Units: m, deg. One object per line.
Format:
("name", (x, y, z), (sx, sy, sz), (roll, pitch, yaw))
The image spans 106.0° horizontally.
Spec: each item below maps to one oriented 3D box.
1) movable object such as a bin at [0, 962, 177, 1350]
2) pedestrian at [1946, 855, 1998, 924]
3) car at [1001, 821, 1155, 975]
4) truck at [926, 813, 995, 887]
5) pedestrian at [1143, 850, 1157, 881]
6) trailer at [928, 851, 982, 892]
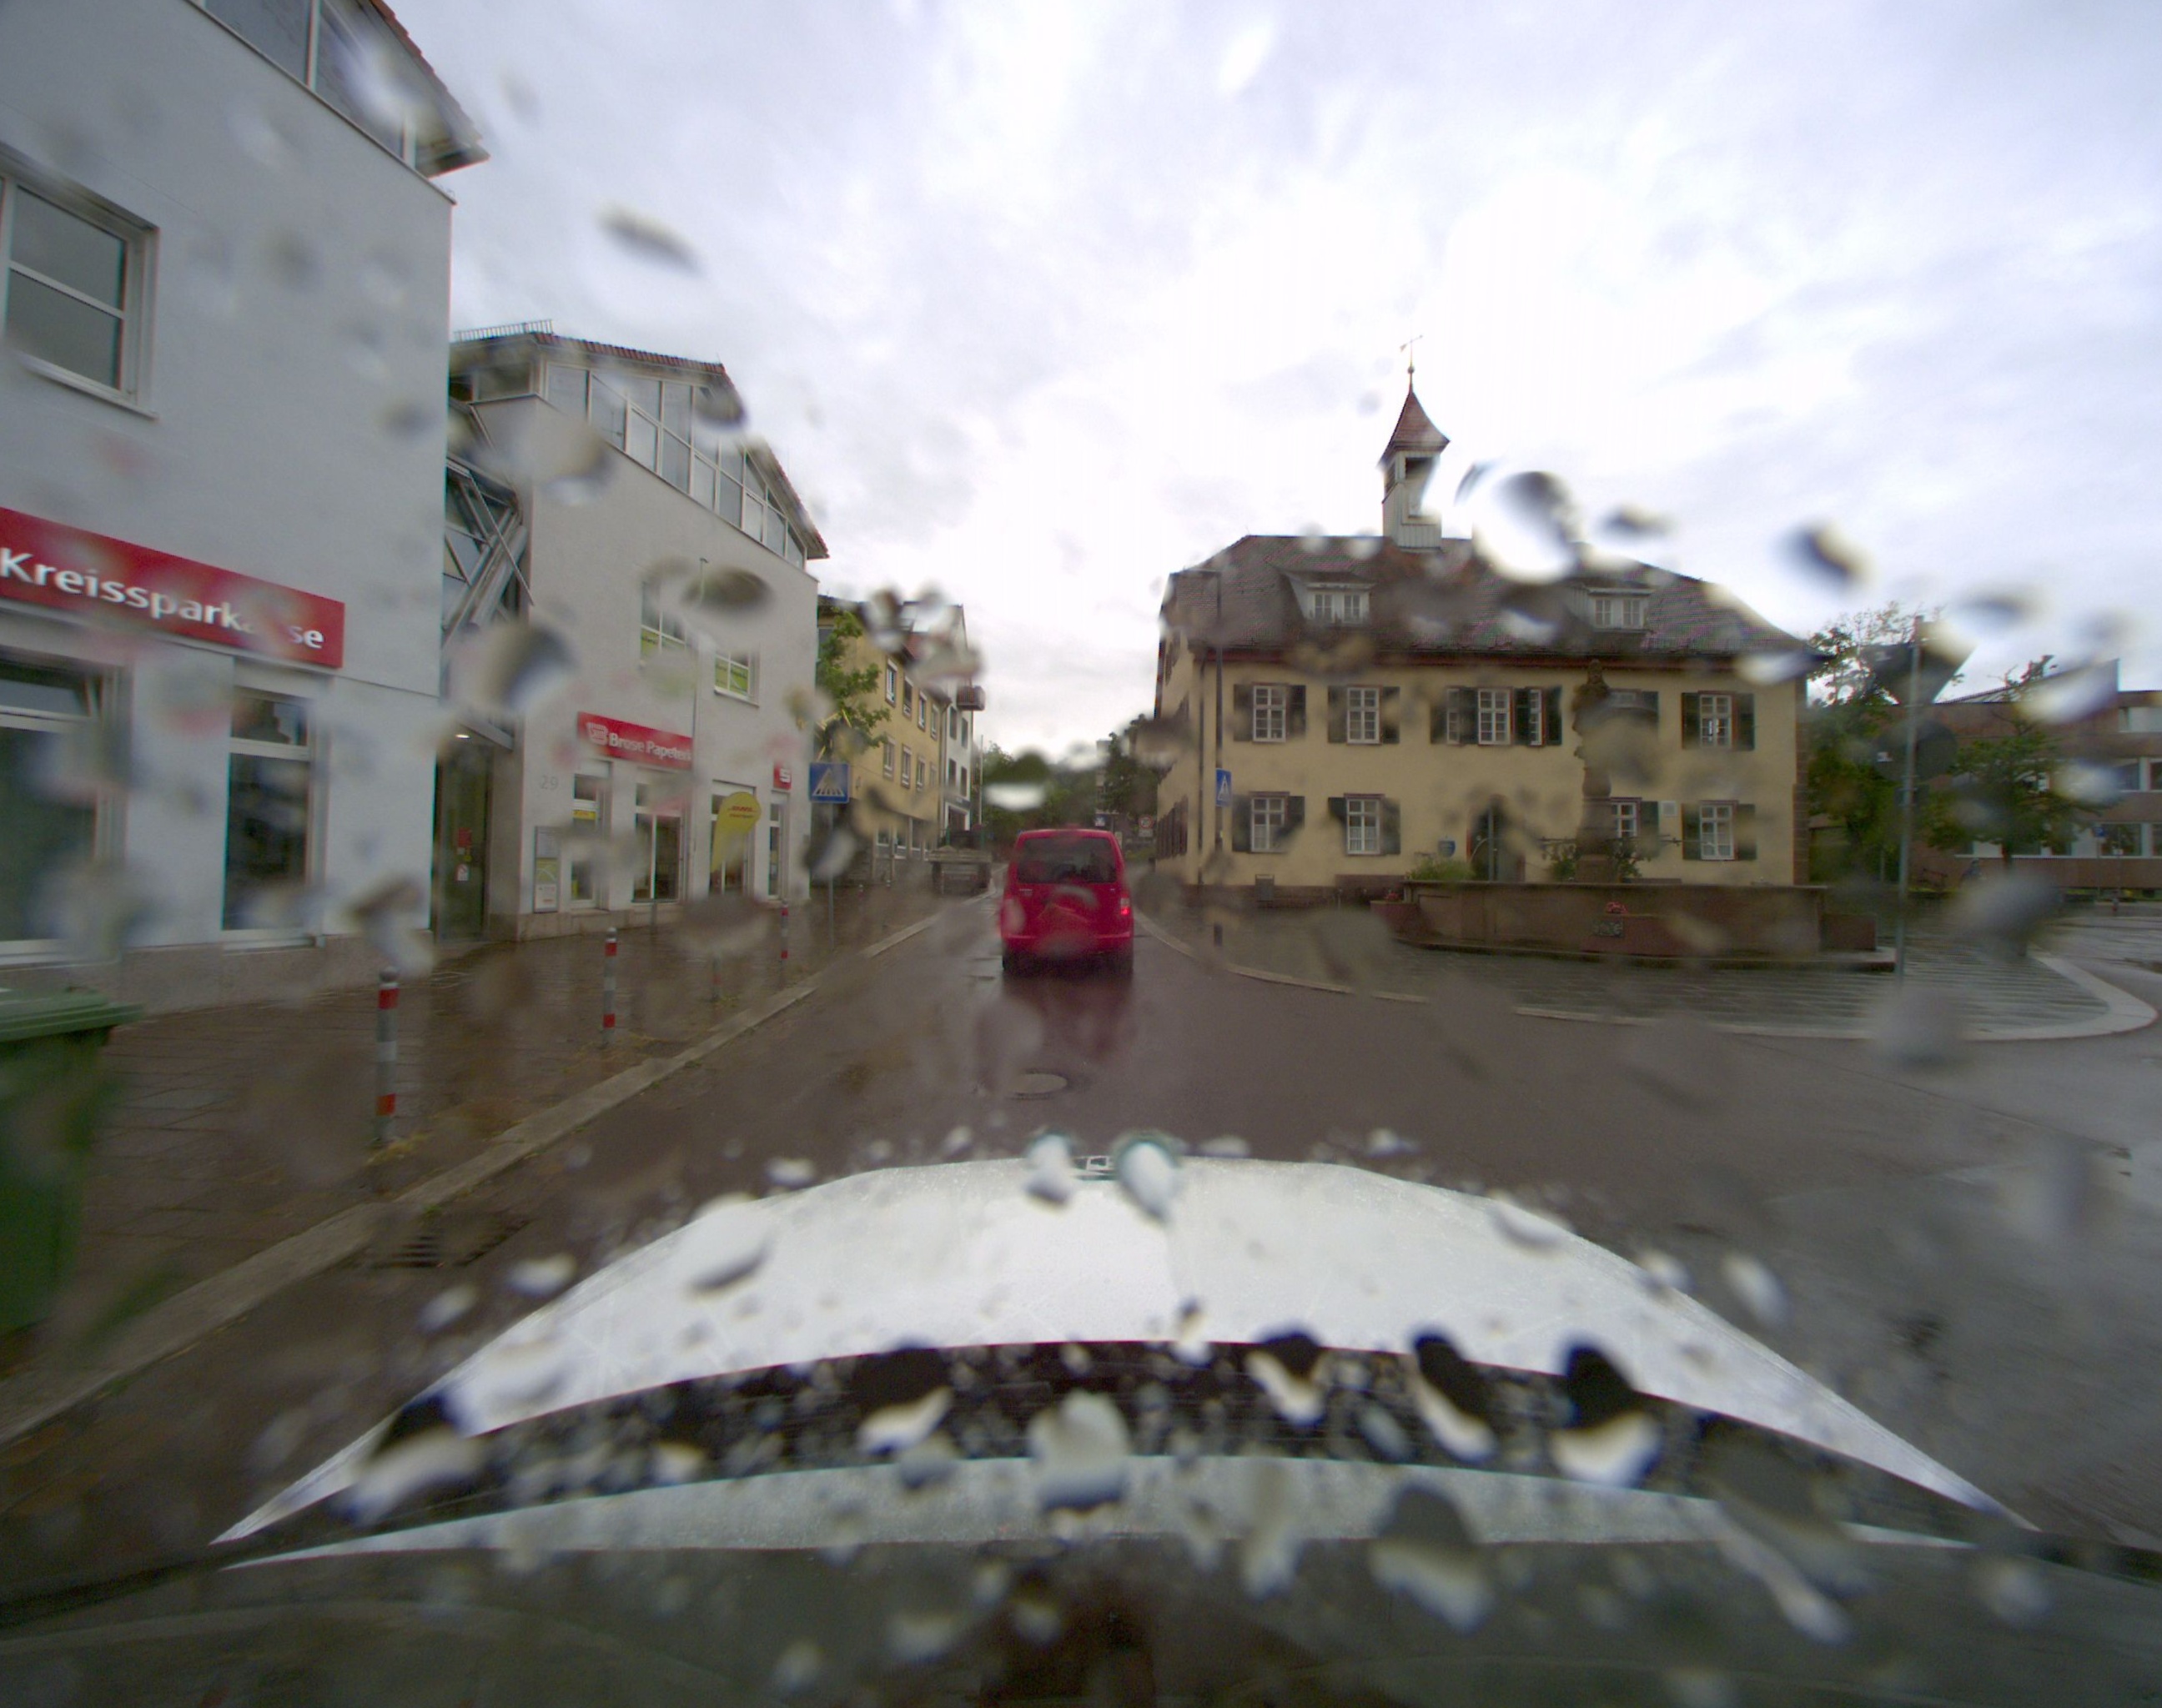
("movable object such as a bin", (-3.542, 0.933, 2.581), (0.656, 1.096, 0.613), (0, -1, 2))
("pedestrian", (24.286, 0.955, 22.195), (0.688, 1.822, 0.786), (0, -1, -27))
("car", (-0.167, 0.536, 12.003), (1.858, 1.830, 4.179), (-1, 0, -4))
("truck", (-4.934, -0.215, 34.399), (2.469, 2.795, 6.588), (0, 1, -5))
("pedestrian", (3.625, 0.604, 42.820), (0.725, 1.617, 0.694), (0, -1, 2))
("trailer", (-4.528, 0.604, 29.563), (1.725, 1.346, 3.155), (0, 1, -5))
